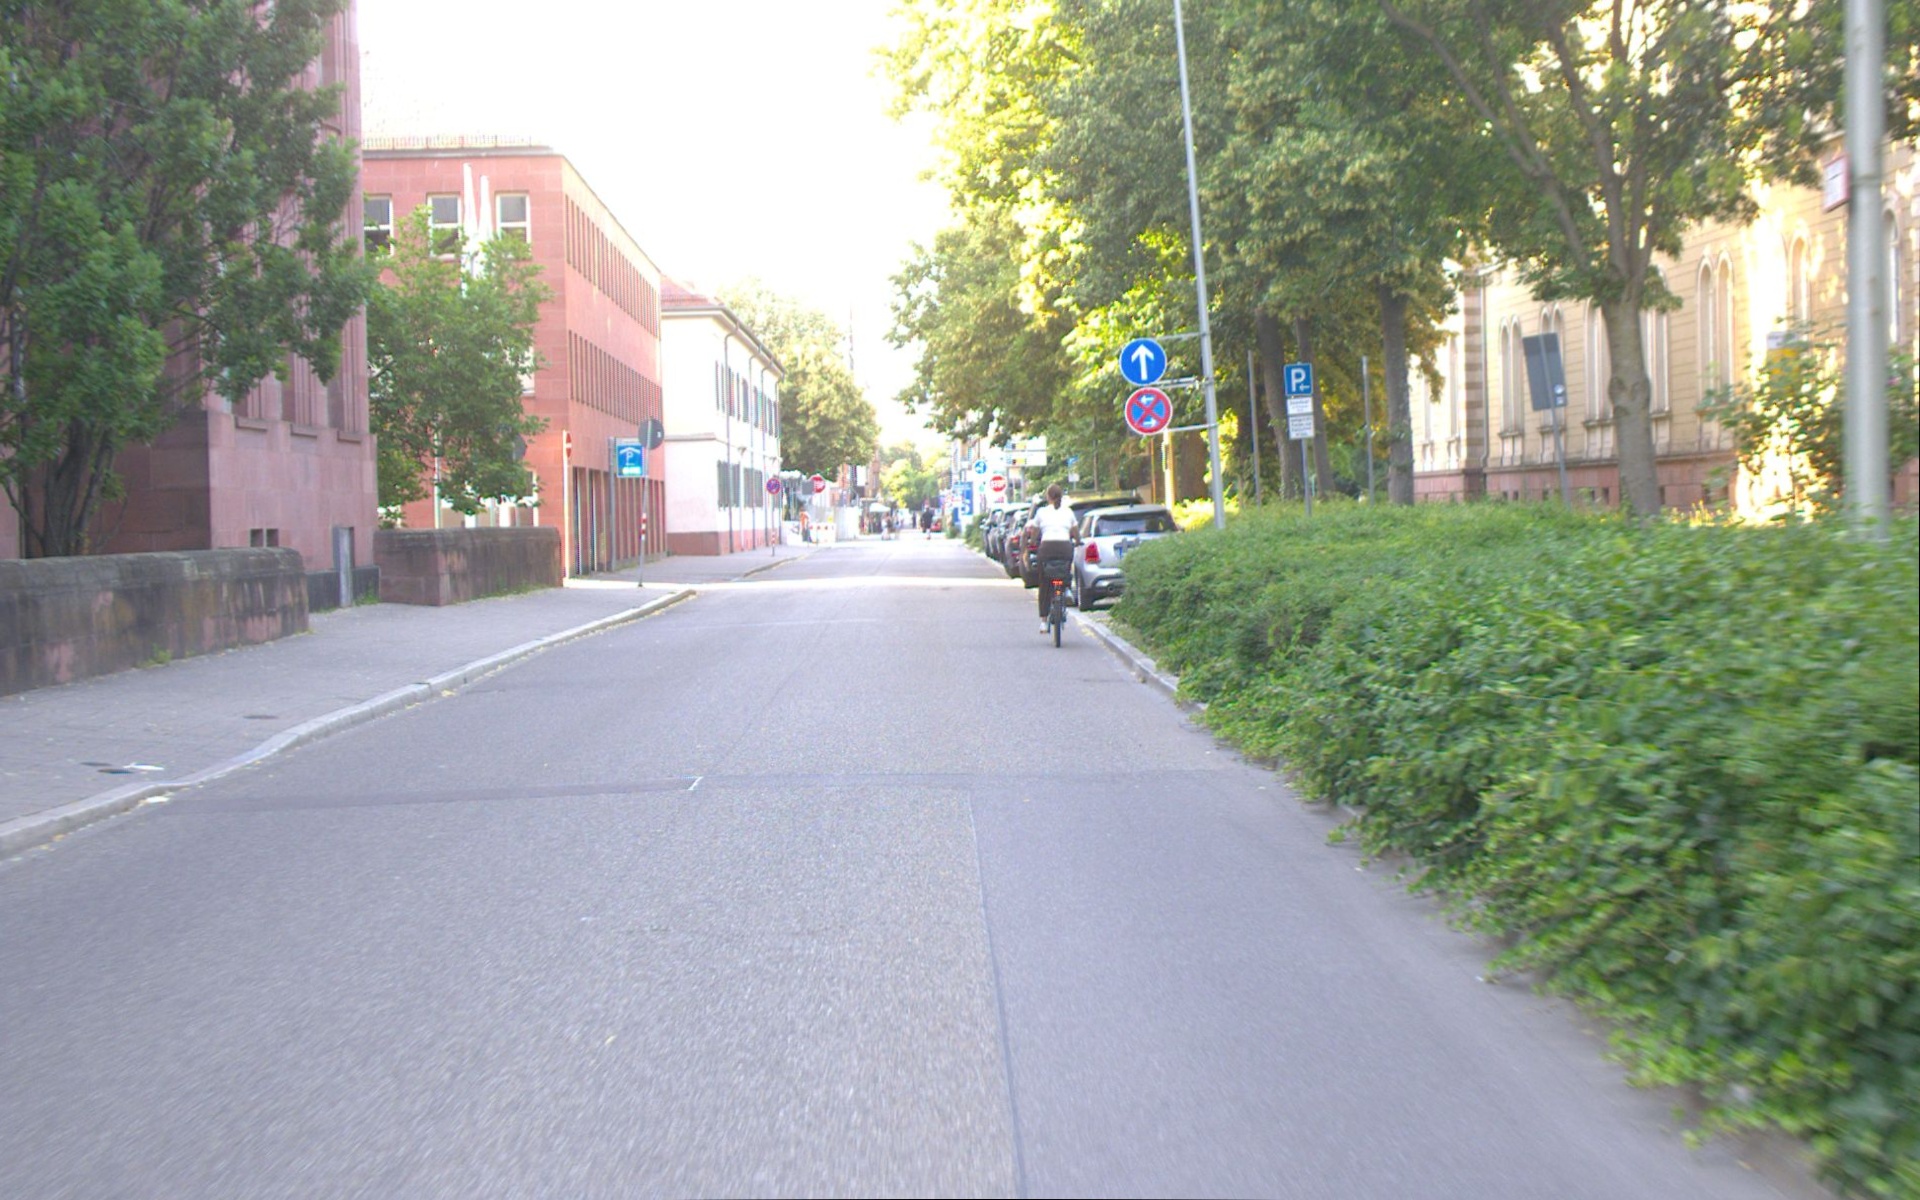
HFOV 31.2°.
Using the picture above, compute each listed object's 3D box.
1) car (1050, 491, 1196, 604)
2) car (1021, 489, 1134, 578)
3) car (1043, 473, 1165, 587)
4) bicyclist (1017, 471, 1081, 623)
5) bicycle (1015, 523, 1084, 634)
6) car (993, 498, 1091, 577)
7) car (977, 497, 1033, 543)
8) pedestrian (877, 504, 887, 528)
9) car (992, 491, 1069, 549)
[{"bbox_3d":[2.297,-0.748,49.181,1.685,1.442,3.672,-4,1,-2],"label":"car"},{"bbox_3d":[2.107,-1.236,62.776,1.715,1.532,4.049,-2,2,-2],"label":"car"},{"bbox_3d":[2.276,-1.151,55.196,1.715,1.706,4.473,-2,2,0],"label":"car"},{"bbox_3d":[0.986,-0.594,38.187,0.639,1.661,0.843,0,1,-2],"label":"bicyclist"},{"bbox_3d":[0.986,-0.256,38.144,0.638,1.189,1.876,0,1,-2],"label":"bicycle"},{"bbox_3d":[1.851,-1.442,78.817,1.993,1.700,4.001,-2,2,-1],"label":"car"},{"bbox_3d":[1.782,-3.191,137.338,1.993,1.743,4.001,-2,2,-1],"label":"car"},{"bbox_3d":[-4.817,-5.190,212.740,0.534,1.467,0.449,-2,1,-2],"label":"pedestrian"},{"bbox_3d":[2.032,-2.332,100.201,1.993,1.579,4.001,-2,2,-1],"label":"car"}]
